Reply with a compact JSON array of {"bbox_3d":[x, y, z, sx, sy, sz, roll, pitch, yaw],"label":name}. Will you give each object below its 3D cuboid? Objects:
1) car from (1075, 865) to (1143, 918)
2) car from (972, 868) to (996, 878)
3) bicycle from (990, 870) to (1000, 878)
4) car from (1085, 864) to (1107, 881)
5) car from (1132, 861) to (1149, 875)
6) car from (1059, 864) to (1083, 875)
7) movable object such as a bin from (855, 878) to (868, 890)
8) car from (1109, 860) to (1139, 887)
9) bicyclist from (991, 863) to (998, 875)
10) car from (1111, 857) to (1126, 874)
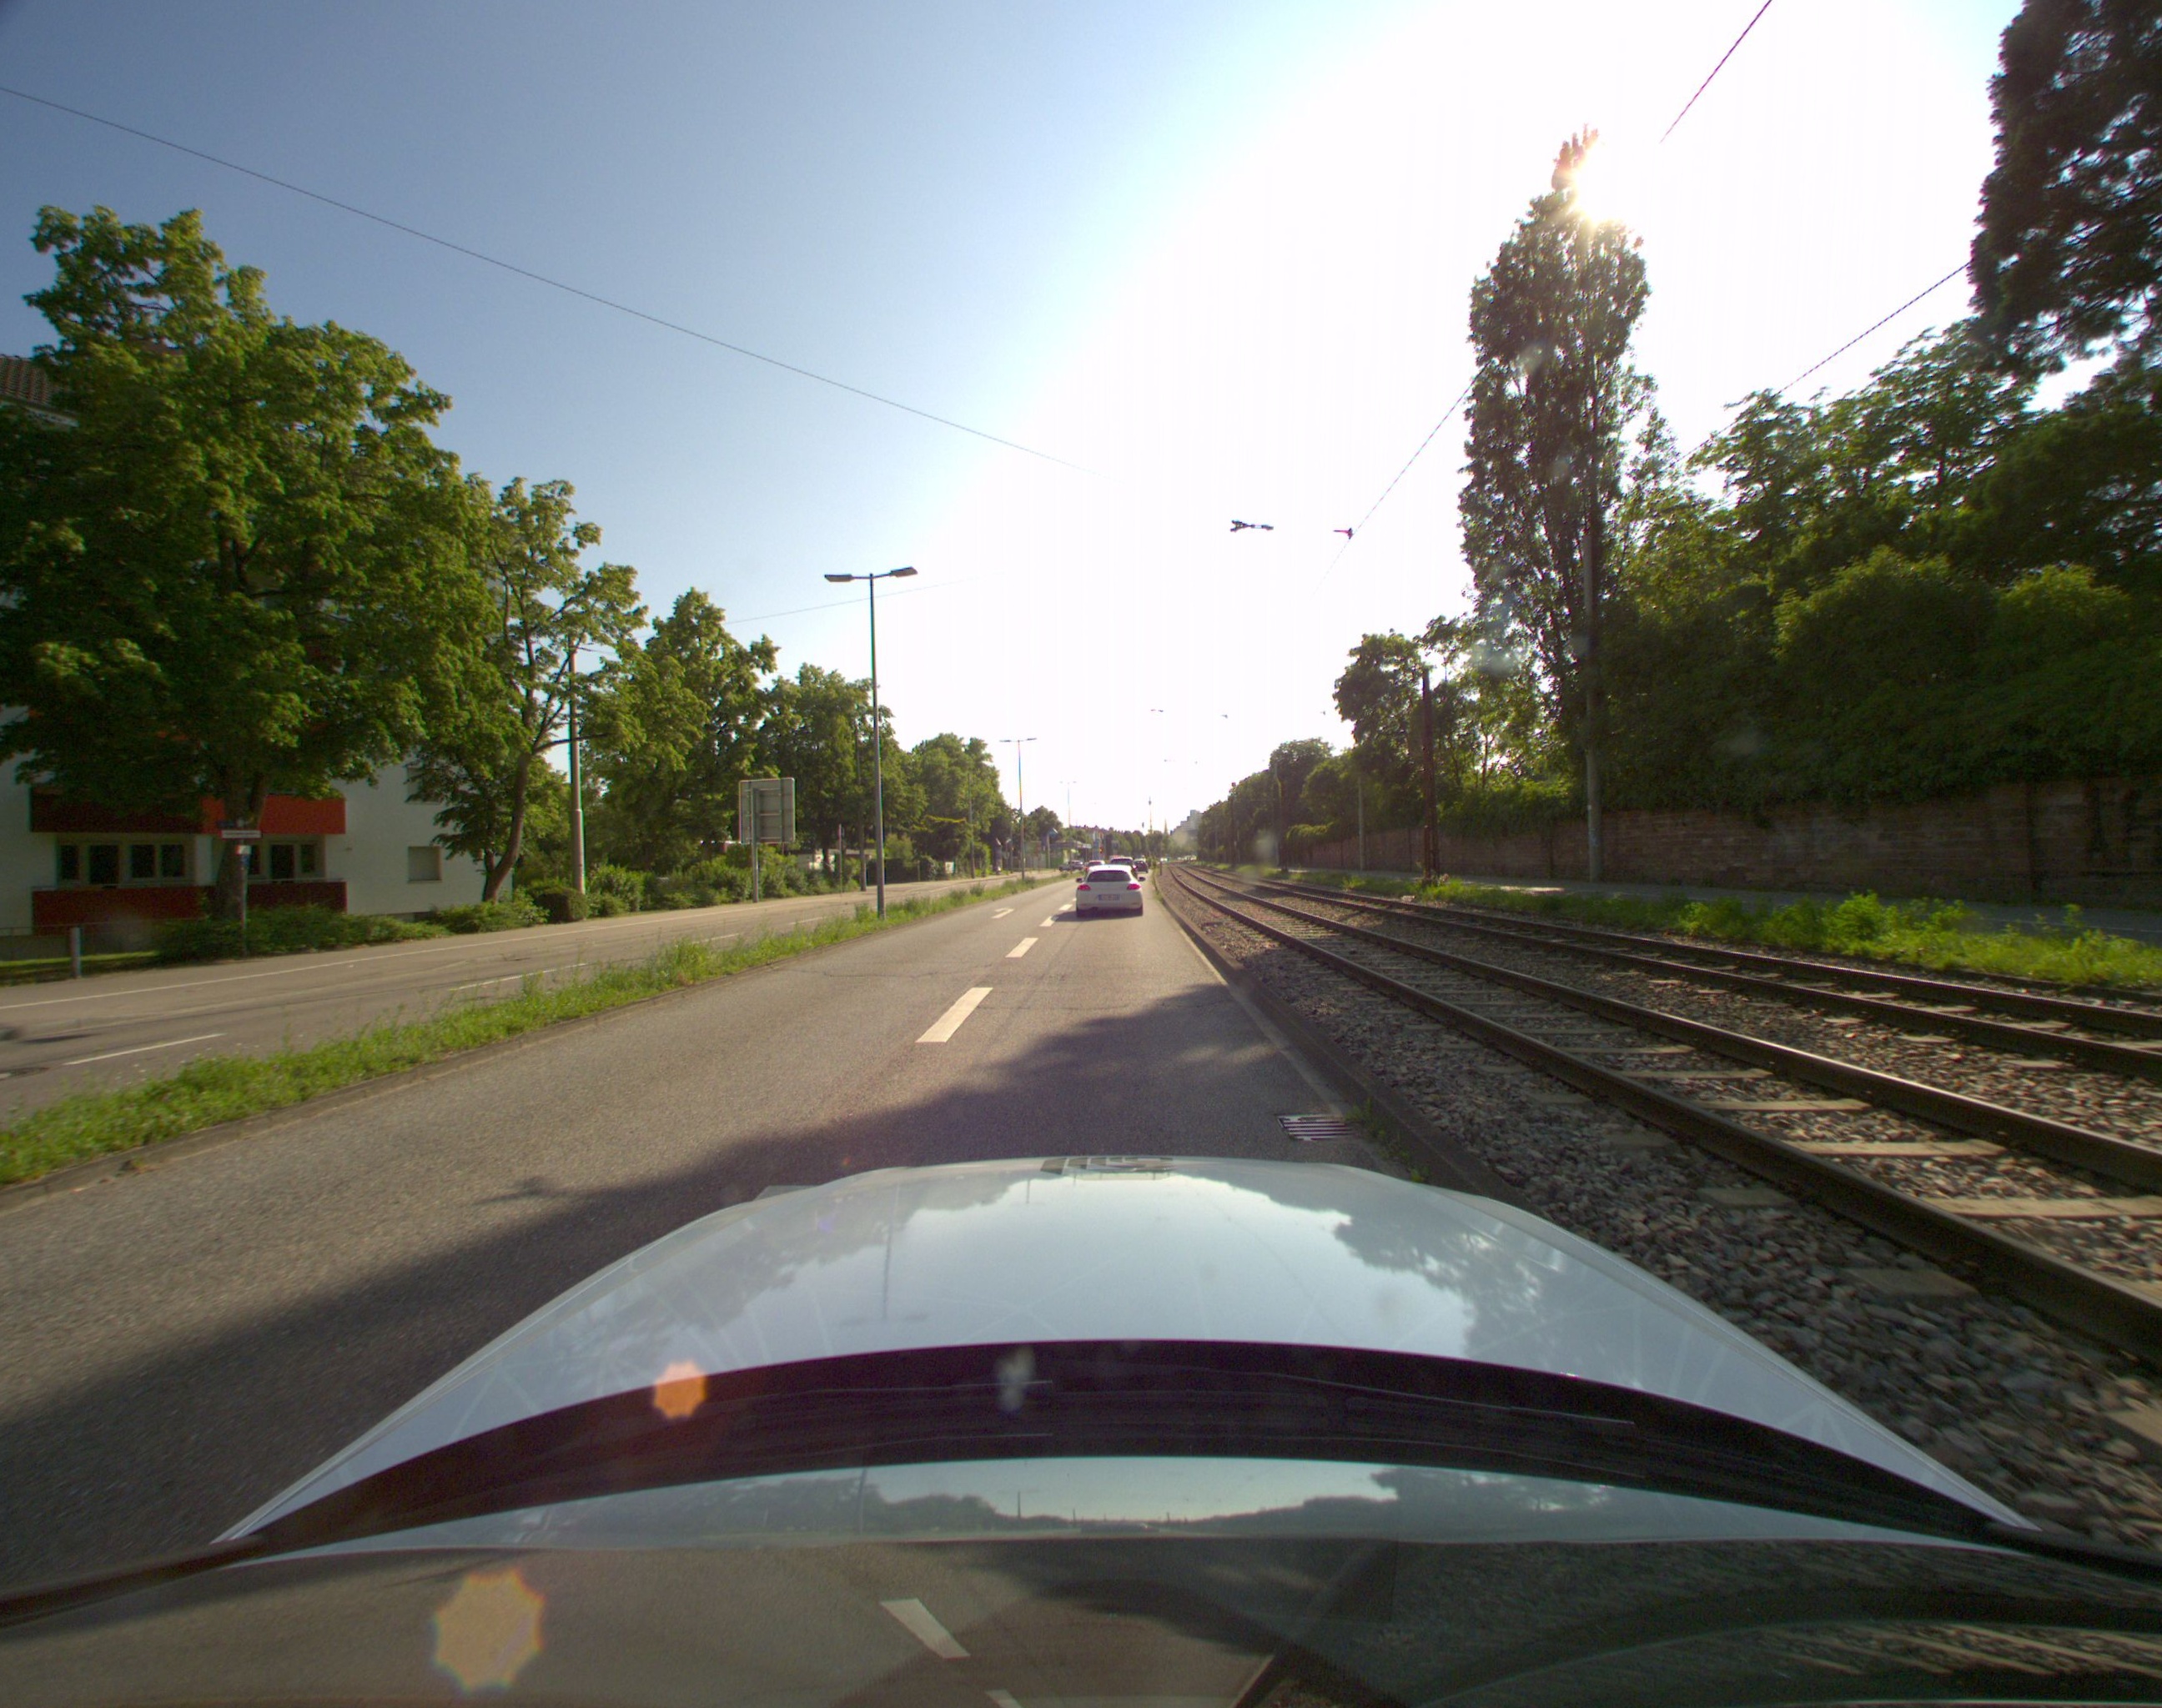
[{"bbox_3d":[0.819,1.004,22.980,1.773,1.356,3.604,0,-1,3],"label":"car"},{"bbox_3d":[-15.945,3.137,133.961,3.560,1.589,1.706,0,-1,15],"label":"car"},{"bbox_3d":[-11.406,2.660,107.771,0.658,1.049,2.587,-2,-1,9],"label":"bicycle"},{"bbox_3d":[1.335,1.575,70.504,1.753,1.486,4.647,0,-1,2],"label":"car"},{"bbox_3d":[6.319,1.504,86.986,1.742,1.486,3.602,0,-1,2],"label":"car"},{"bbox_3d":[-1.533,2.442,128.031,1.664,1.734,3.906,1,-1,-39],"label":"car"},{"bbox_3d":[-19.177,2.623,71.274,0.812,0.931,0.854,-2,-1,4],"label":"movable object such as a bin"},{"bbox_3d":[2.552,1.140,48.572,1.717,1.593,3.602,0,-1,2],"label":"car"},{"bbox_3d":[-11.414,1.988,107.854,0.658,1.452,1.053,-2,-1,9],"label":"bicyclist"},{"bbox_3d":[4.823,1.486,103.983,1.809,1.963,4.407,-2,-1,4],"label":"car"}]
